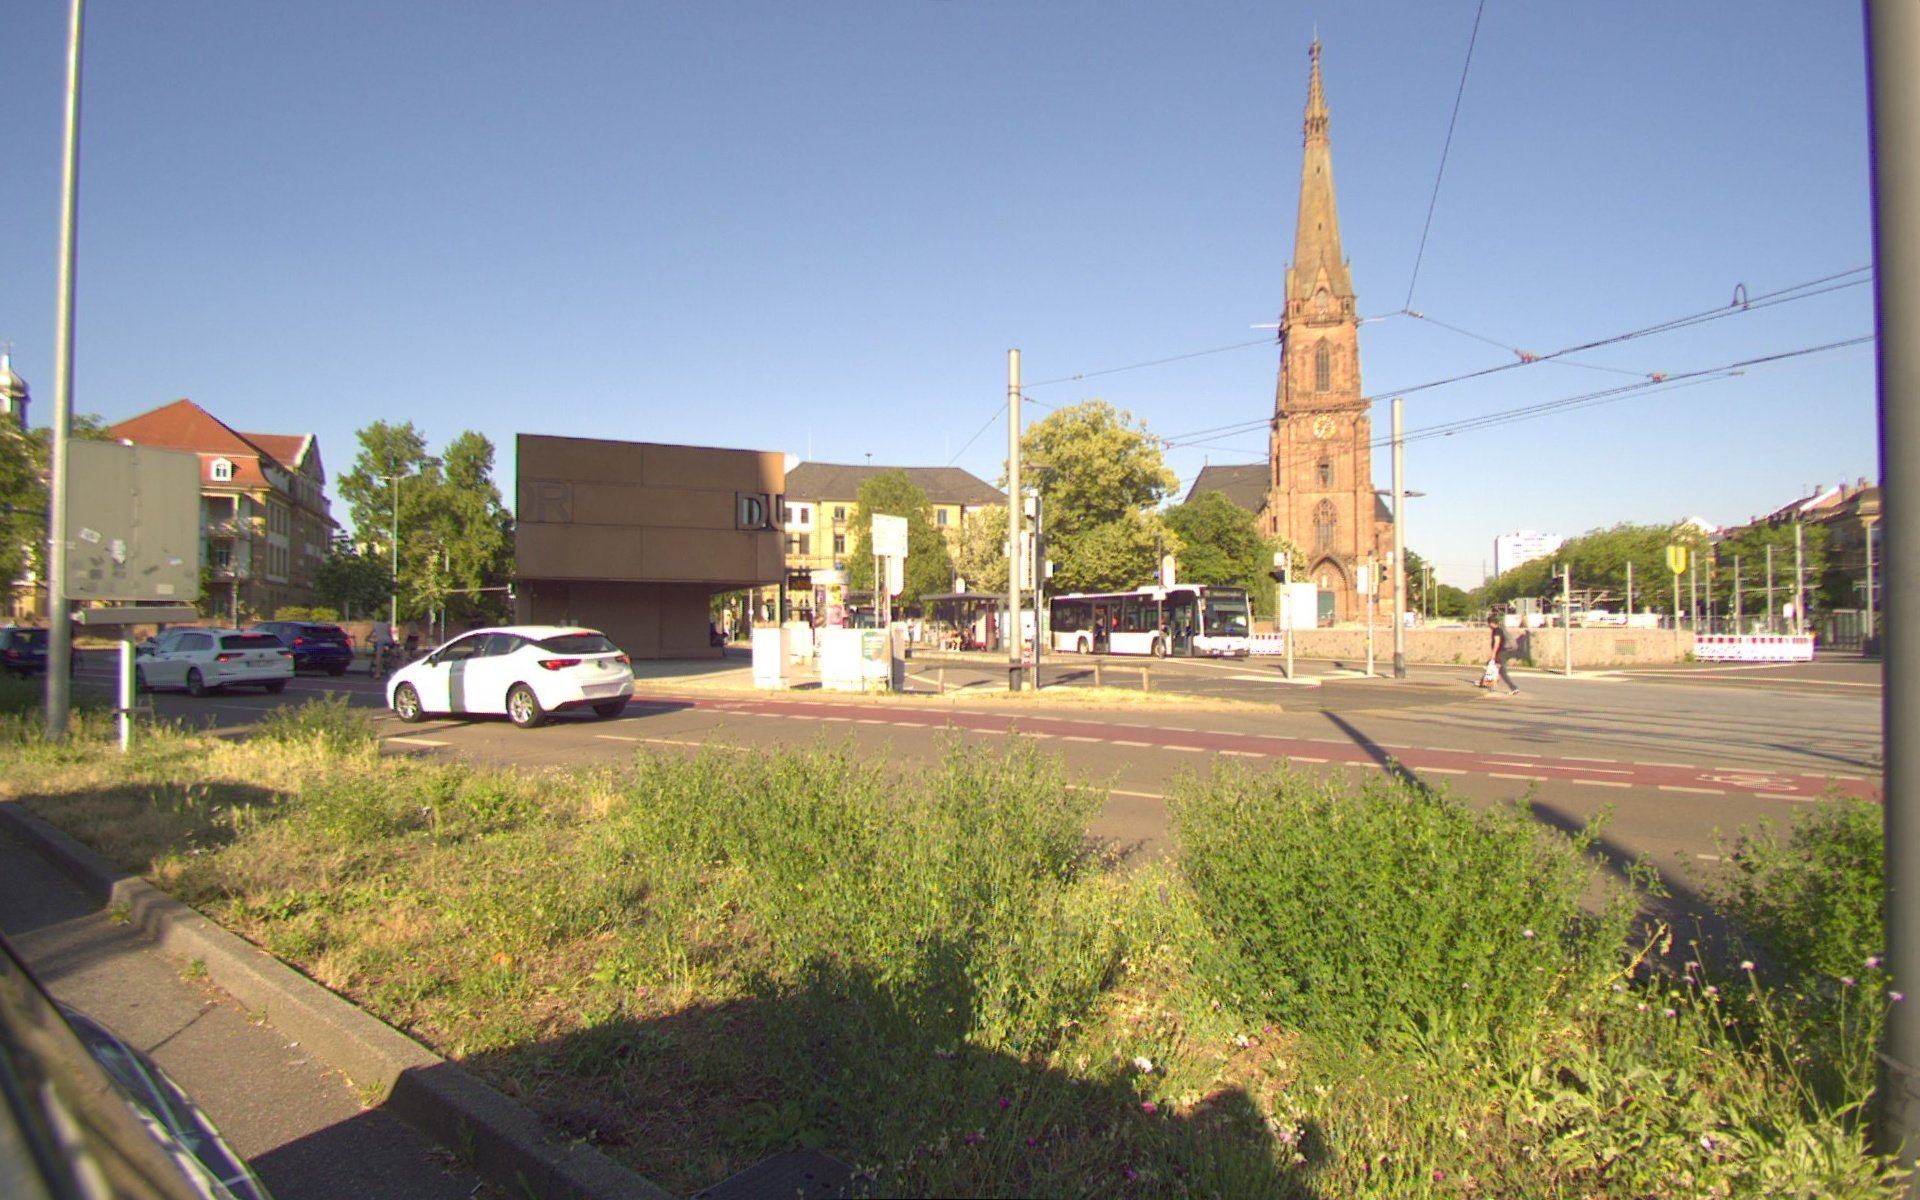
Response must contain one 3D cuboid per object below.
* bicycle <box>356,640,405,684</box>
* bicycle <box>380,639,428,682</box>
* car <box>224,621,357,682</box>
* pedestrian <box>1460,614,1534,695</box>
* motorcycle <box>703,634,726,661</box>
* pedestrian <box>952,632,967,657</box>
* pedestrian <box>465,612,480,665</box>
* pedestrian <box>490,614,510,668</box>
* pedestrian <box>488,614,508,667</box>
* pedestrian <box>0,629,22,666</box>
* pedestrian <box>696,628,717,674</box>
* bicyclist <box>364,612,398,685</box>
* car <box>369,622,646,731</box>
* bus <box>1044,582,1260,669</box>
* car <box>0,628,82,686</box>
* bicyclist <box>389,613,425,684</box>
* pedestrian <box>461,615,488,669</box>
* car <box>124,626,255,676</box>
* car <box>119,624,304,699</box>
[{"bbox_3d":[-16.444,1.743,28.700,1.388,1.201,0.461,-1,0,24],"label":"bicycle"},{"bbox_3d":[-16.061,1.738,29.235,1.388,1.201,0.461,-1,0,24],"label":"bicycle"},{"bbox_3d":[-20.067,1.495,30.297,4.174,1.703,1.738,-1,-2,32],"label":"car"},{"bbox_3d":[11.752,1.159,22.164,1.025,1.696,1.007,-1,0,-25],"label":"pedestrian"},{"bbox_3d":[-10.199,1.956,42.050,0.935,1.075,0.331,-1,0,-11],"label":"motorcycle"},{"bbox_3d":[-0.008,2.193,49.919,0.531,1.196,0.660,-1,0,-21],"label":"pedestrian"},{"bbox_3d":[-19.034,1.496,39.512,0.460,2.029,0.658,-1,0,-32],"label":"pedestrian"},{"bbox_3d":[-17.744,1.573,39.060,0.645,2.029,0.470,-1,0,-29],"label":"pedestrian"},{"bbox_3d":[-18.022,1.577,39.490,0.645,2.029,0.470,-1,0,-29],"label":"pedestrian"},{"bbox_3d":[-49.647,2.471,52.819,0.787,1.911,0.612,0,-2,-9],"label":"pedestrian"},{"bbox_3d":[-11.344,2.267,45.257,0.762,2.029,0.778,-1,0,-2],"label":"pedestrian"},{"bbox_3d":[-16.359,1.352,28.587,0.562,2.029,0.605,-1,-2,25],"label":"bicyclist"},{"bbox_3d":[-7.072,1.096,15.766,4.168,1.471,1.740,-1,0,27],"label":"car"},{"bbox_3d":[7.682,0.968,43.362,2.655,3.174,12.216,-1,0,-23],"label":"bus"},{"bbox_3d":[-26.839,1.567,28.533,4.168,1.471,1.741,-1,0,27],"label":"car"},{"bbox_3d":[-15.935,1.394,29.170,0.705,2.029,0.605,-1,-2,25],"label":"bicyclist"},{"bbox_3d":[-18.492,1.583,38.541,0.765,2.029,0.775,-1,0,-37],"label":"pedestrian"},{"bbox_3d":[-25.155,1.645,33.010,4.375,1.503,1.831,-1,-4,30],"label":"car"},{"bbox_3d":[-17.022,1.332,22.970,4.375,1.503,1.831,-1,0,30],"label":"car"}]
